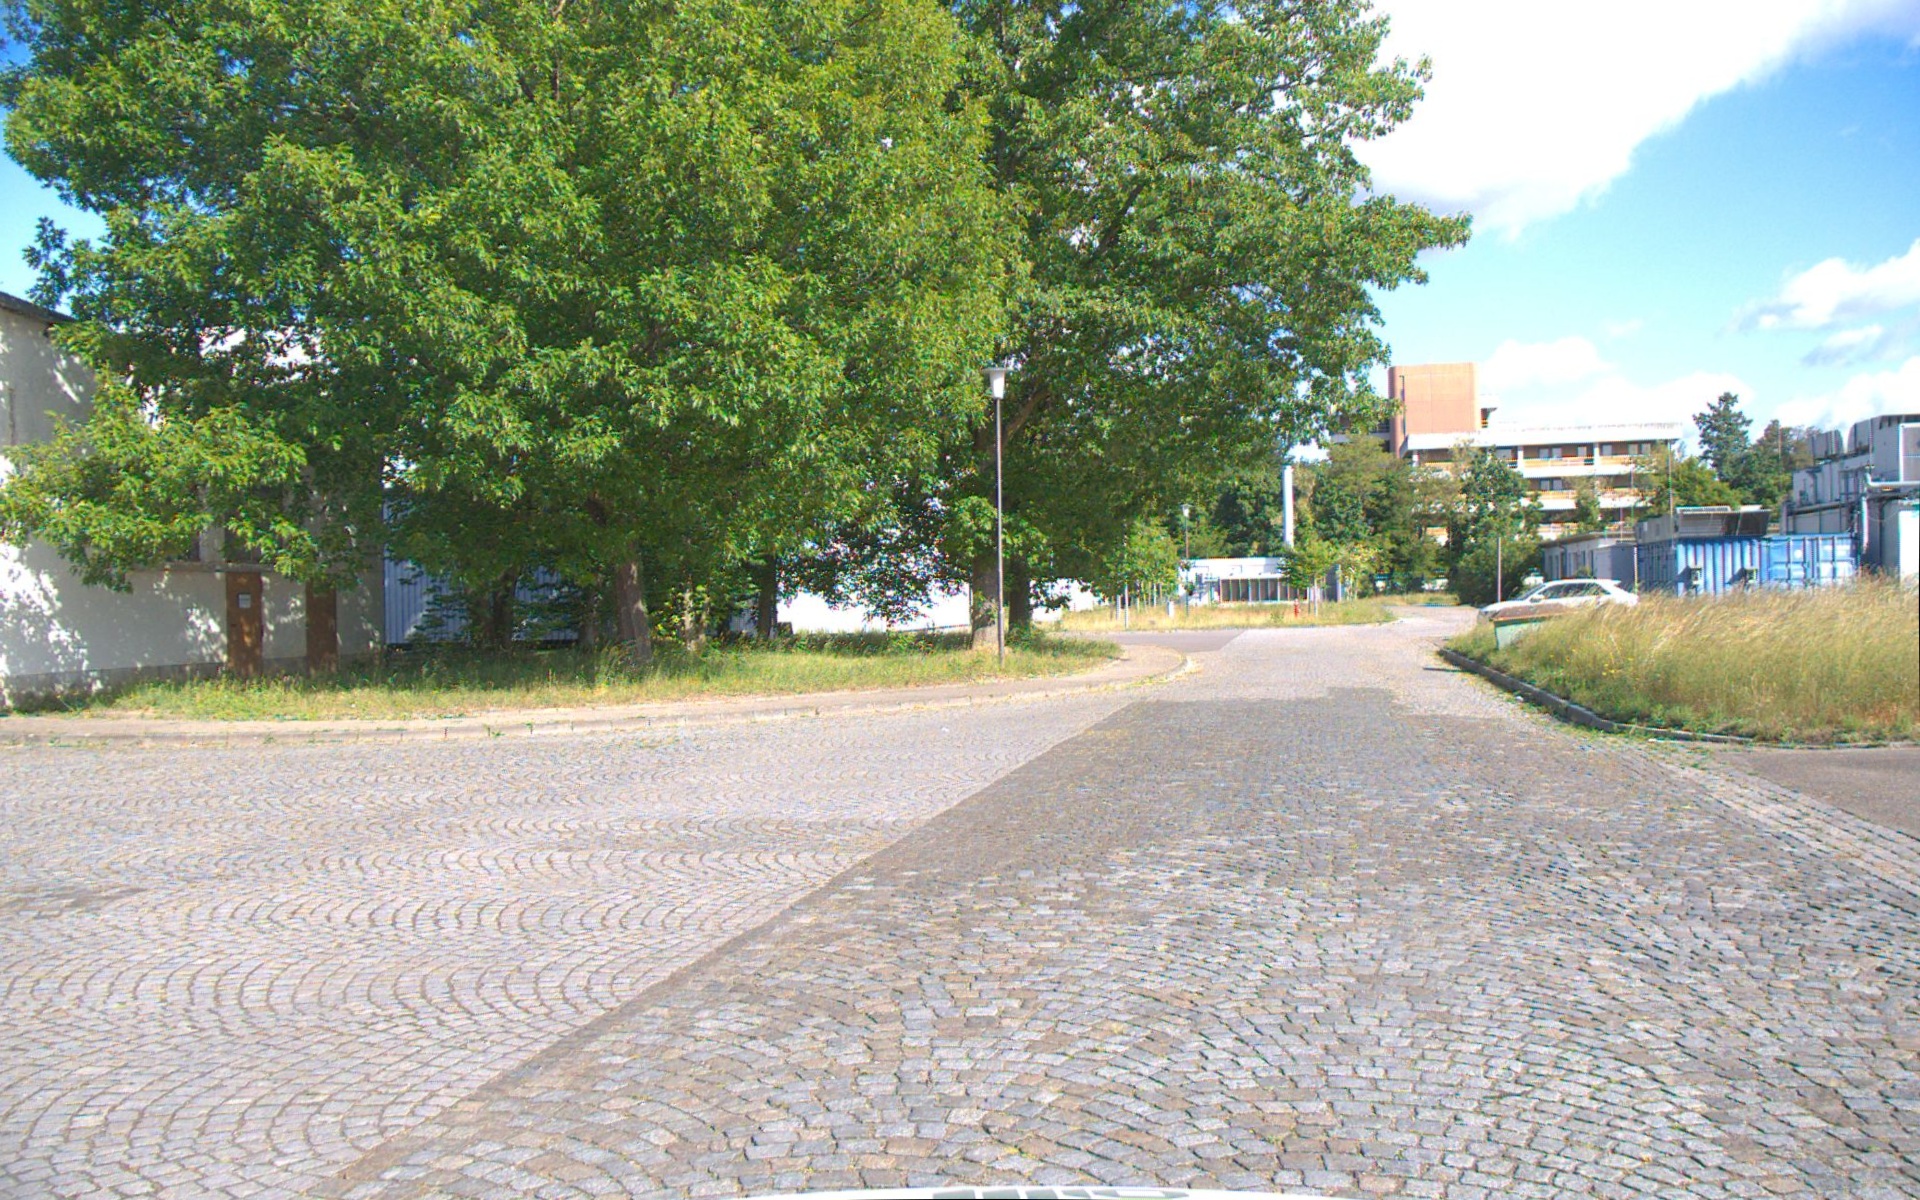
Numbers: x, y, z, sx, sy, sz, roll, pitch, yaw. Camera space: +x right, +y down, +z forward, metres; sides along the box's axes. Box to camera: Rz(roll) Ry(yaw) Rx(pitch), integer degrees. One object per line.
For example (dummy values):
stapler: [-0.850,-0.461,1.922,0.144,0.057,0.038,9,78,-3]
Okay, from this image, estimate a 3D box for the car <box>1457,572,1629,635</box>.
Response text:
car: [16.997,0.098,48.449,4.490,1.707,1.876,-2,0,12]
